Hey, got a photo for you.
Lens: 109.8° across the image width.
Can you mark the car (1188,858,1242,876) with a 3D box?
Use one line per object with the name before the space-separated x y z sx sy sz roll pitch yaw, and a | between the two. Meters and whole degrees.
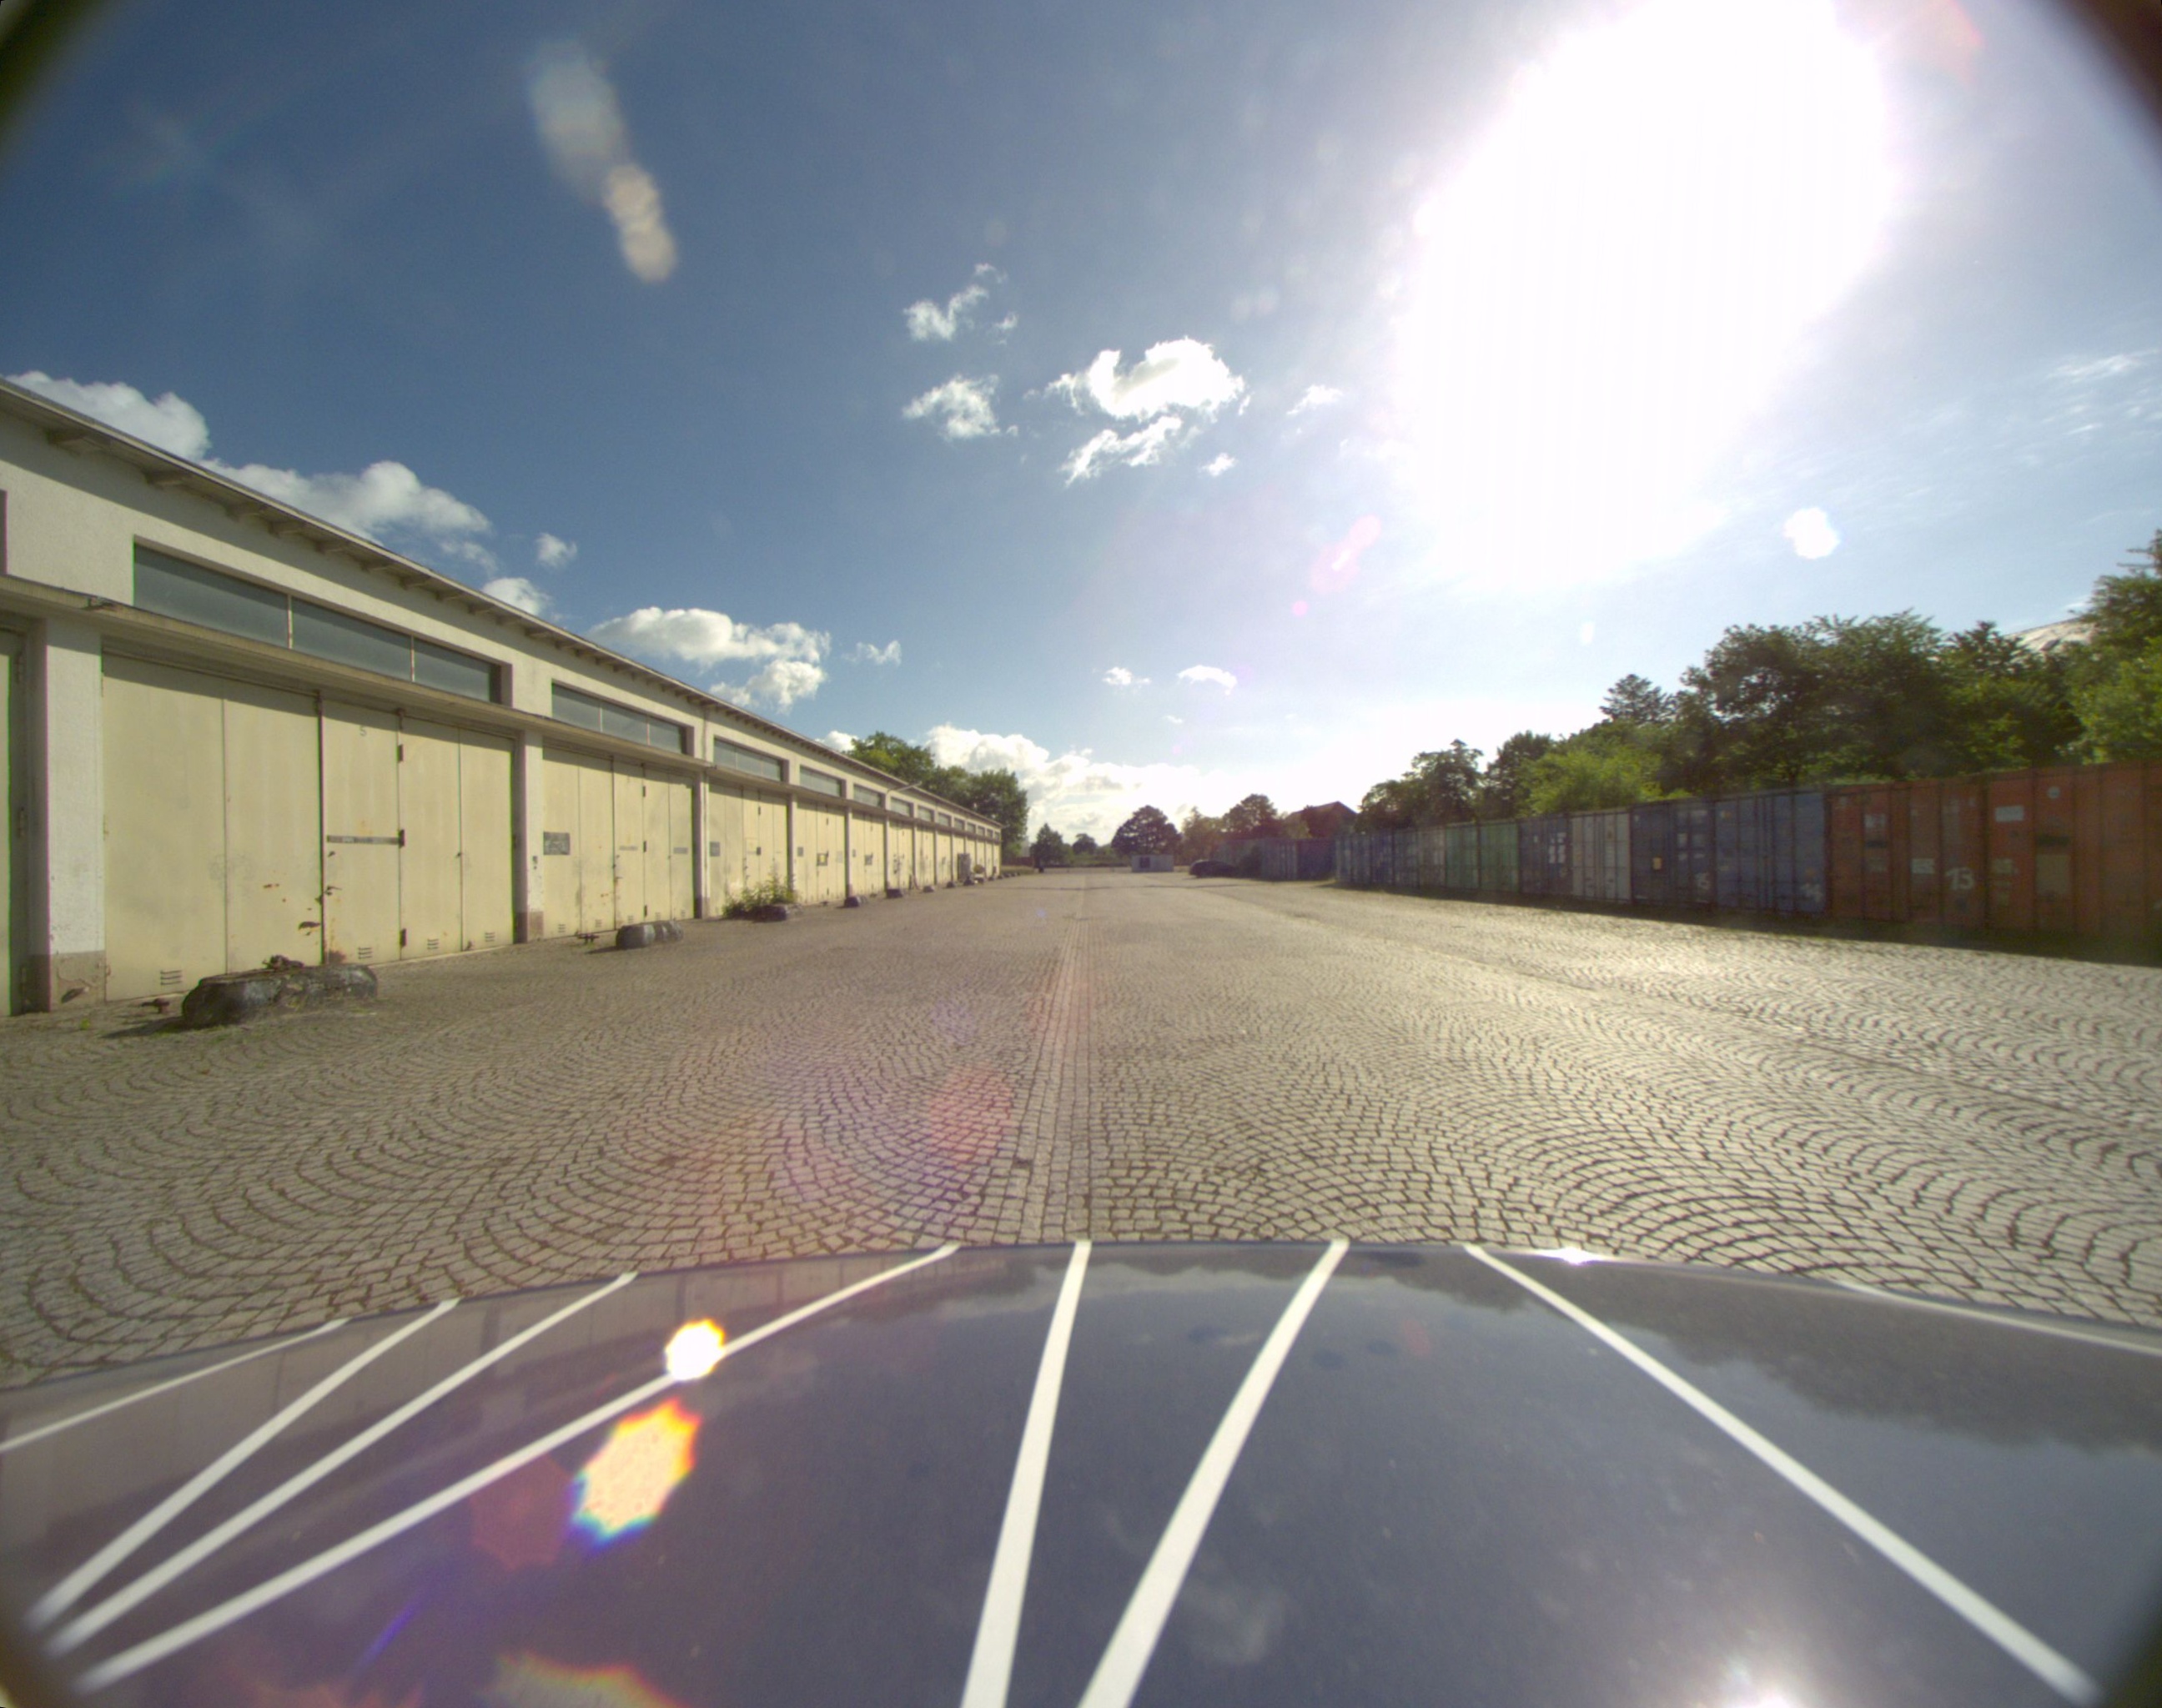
car | 11.100 1.060 63.184 4.112 1.289 2.000 -3 0 -2
